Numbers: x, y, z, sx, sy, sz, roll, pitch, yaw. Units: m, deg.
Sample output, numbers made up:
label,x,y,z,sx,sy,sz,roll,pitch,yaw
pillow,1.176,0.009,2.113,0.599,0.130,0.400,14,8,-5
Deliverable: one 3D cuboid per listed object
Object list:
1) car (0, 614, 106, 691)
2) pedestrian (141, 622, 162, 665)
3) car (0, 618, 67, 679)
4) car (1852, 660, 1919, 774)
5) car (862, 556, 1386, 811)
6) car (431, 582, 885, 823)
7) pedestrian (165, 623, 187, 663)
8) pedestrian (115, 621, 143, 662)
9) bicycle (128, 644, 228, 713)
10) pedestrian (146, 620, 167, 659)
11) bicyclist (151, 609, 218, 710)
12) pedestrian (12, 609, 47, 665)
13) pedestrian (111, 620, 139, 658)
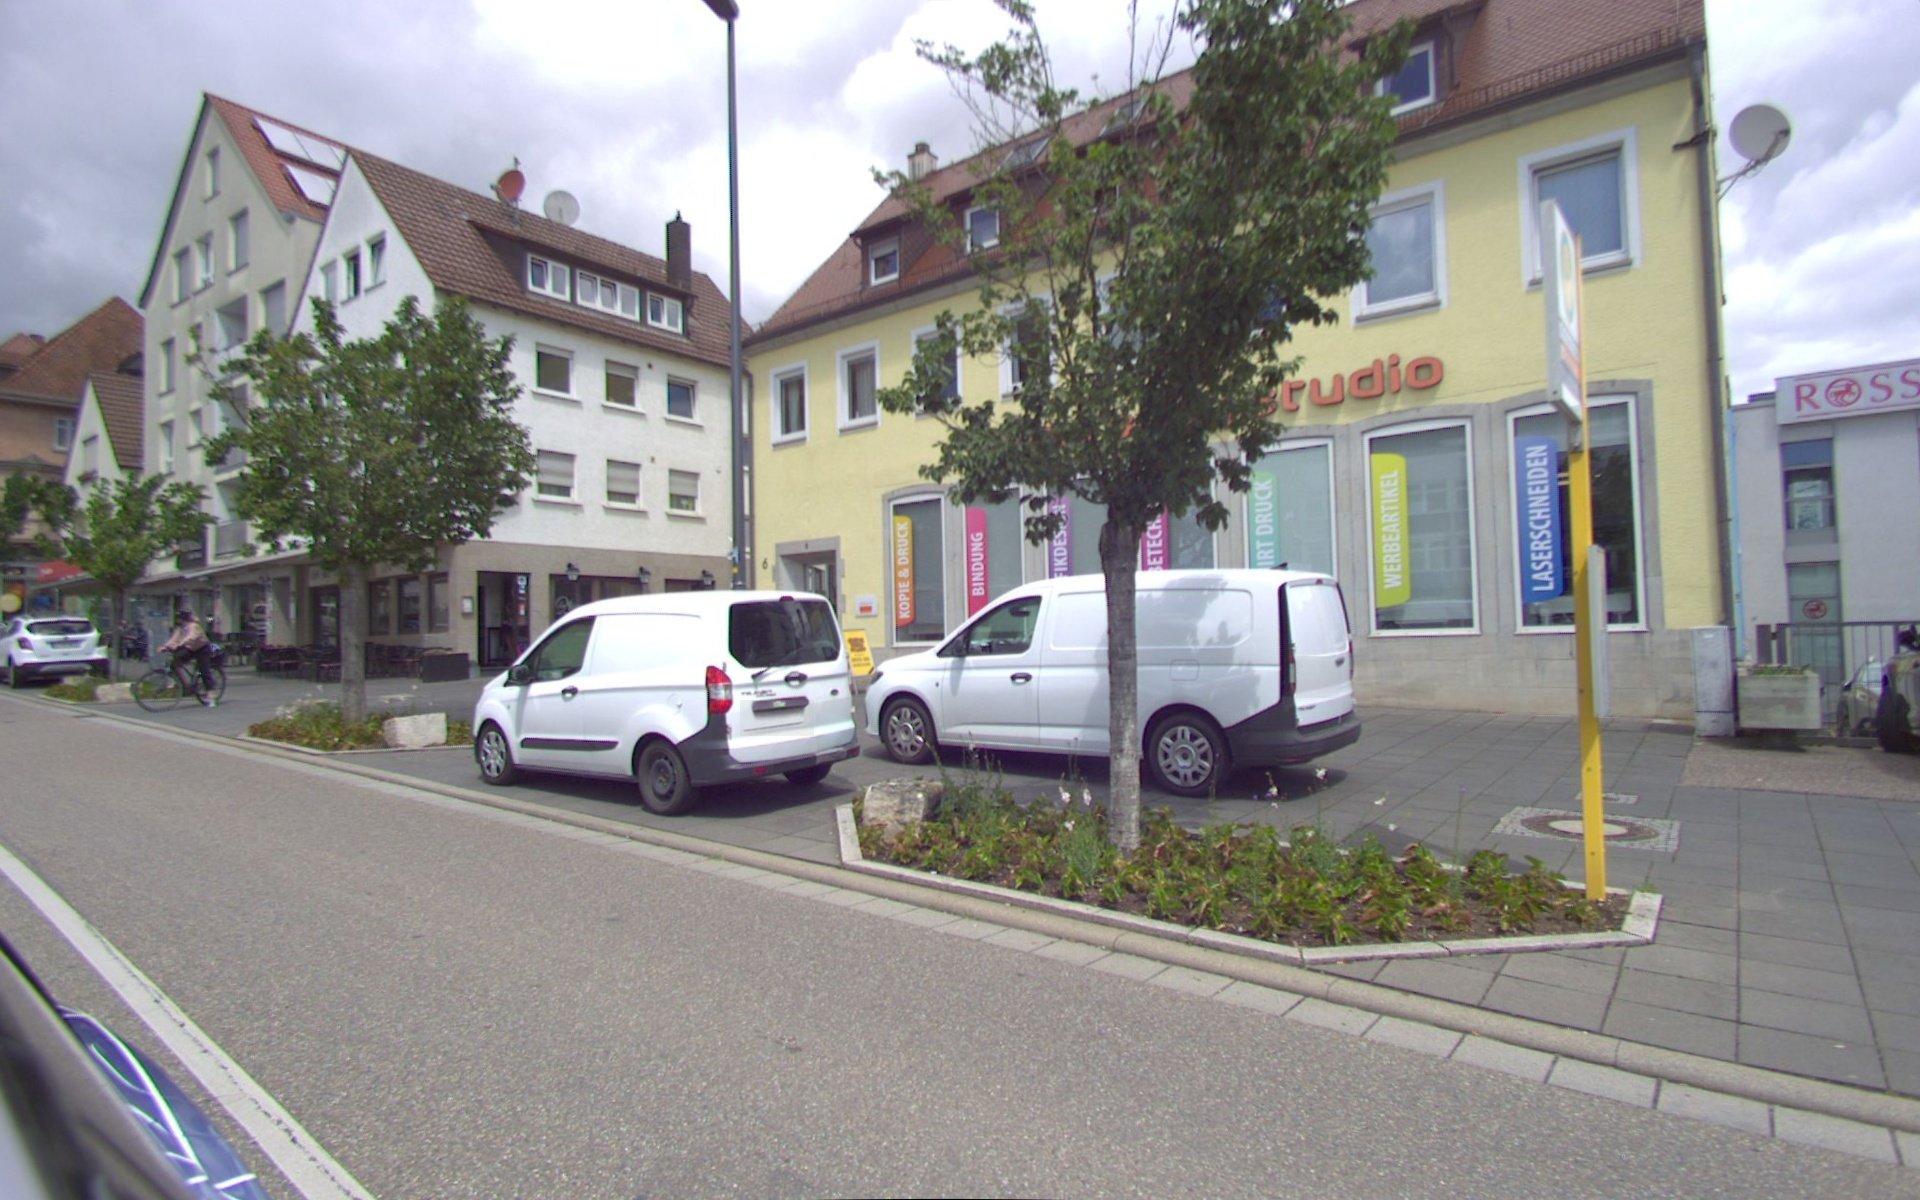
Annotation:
label,x,y,z,sx,sy,sz,roll,pitch,yaw
car,-21.949,1.179,24.112,4.127,1.659,1.650,-1,0,38
pedestrian,-25.017,1.352,31.313,0.453,1.309,0.417,-1,-1,35
car,-26.190,1.277,27.453,4.502,1.462,1.825,0,1,33
car,14.267,1.645,14.784,1.648,1.420,3.947,-1,-2,39
car,1.325,0.620,9.313,4.470,1.827,1.739,-1,0,38
car,-2.851,0.744,9.050,4.343,1.684,1.641,-1,0,37
pedestrian,-24.696,1.344,31.878,0.565,1.259,0.423,-1,-1,36
pedestrian,-26.291,1.303,32.005,0.597,1.277,0.545,0,0,35
bicycle,-13.461,1.323,17.475,0.407,1.096,1.654,1,-2,0
pedestrian,-25.939,1.271,32.668,0.499,1.259,0.391,-1,-1,35
bicyclist,-13.455,1.023,17.574,0.503,1.708,0.777,0,-2,1
pedestrian,-30.234,1.181,32.881,0.775,1.774,0.655,1,0,32
pedestrian,-28.422,1.311,34.445,0.597,1.256,0.590,0,0,35
